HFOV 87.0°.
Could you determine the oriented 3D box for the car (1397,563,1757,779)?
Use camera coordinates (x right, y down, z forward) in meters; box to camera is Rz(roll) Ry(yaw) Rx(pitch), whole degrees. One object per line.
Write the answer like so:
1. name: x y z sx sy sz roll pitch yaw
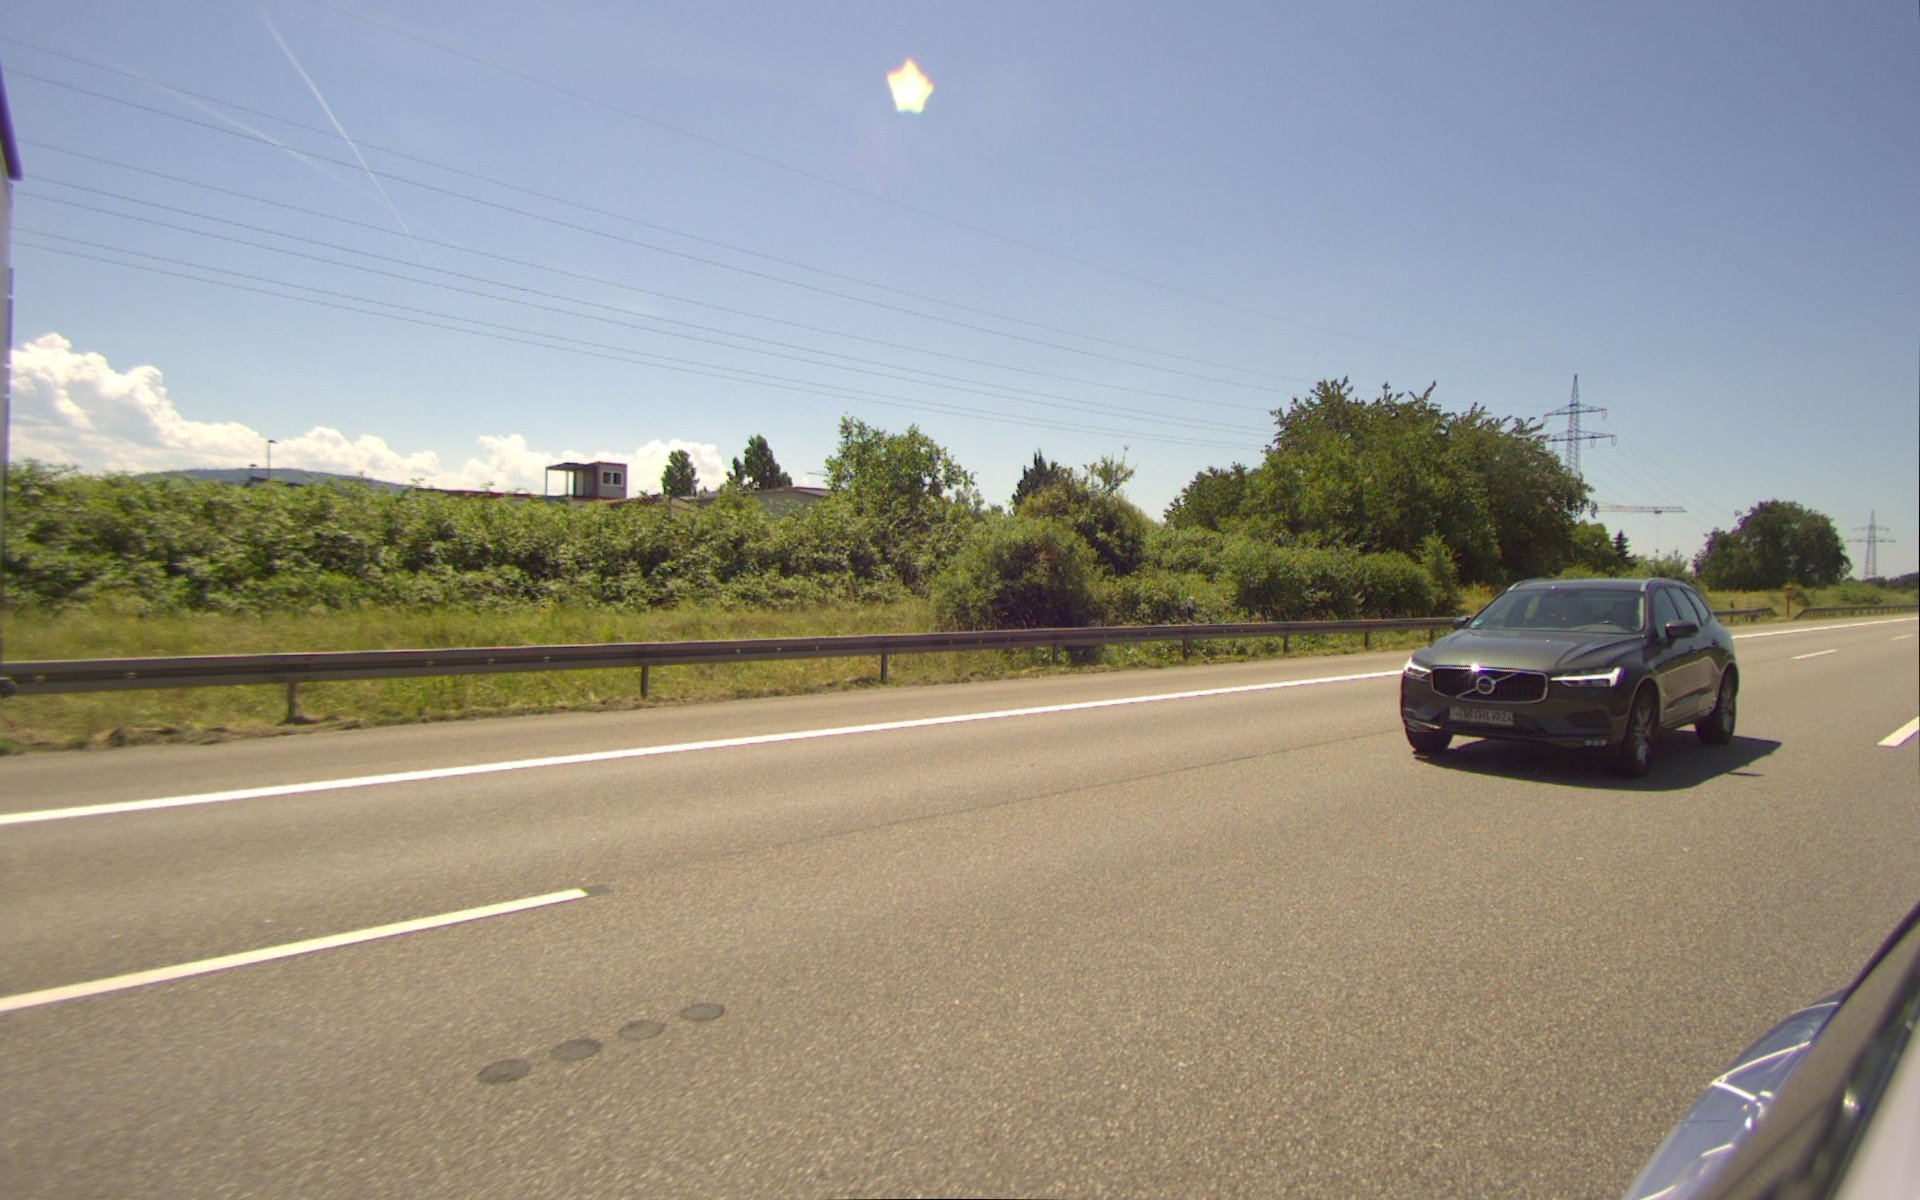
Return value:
1. car: 6.016 0.514 9.697 3.935 1.643 1.877 0 1 -41
